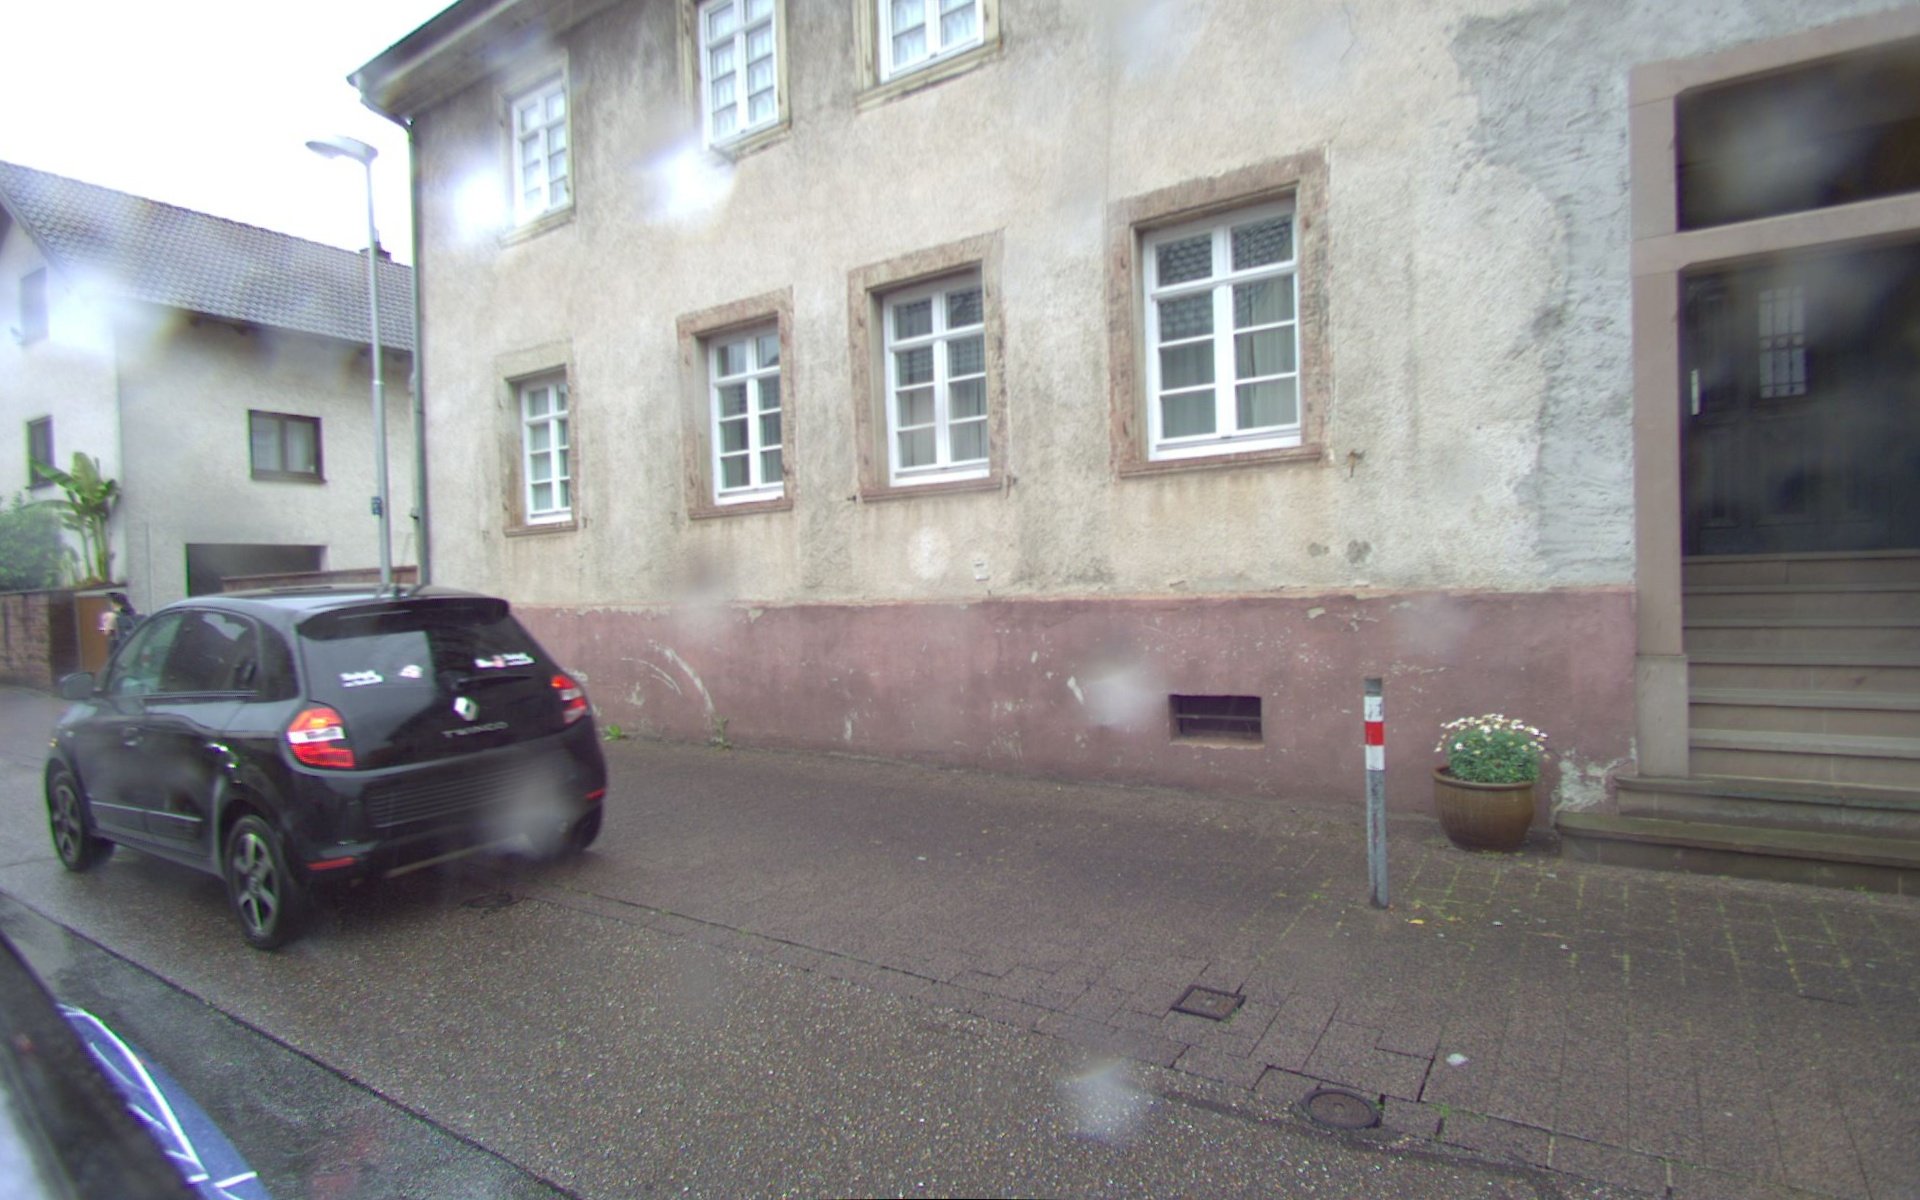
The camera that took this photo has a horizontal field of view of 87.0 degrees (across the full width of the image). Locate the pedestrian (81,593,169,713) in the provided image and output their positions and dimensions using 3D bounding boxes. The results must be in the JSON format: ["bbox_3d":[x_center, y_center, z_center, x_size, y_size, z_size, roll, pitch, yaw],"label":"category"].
[{"bbox_3d":[-11.304,0.697,13.706,0.829,1.549,0.568,-1,2,29],"label":"pedestrian"}]

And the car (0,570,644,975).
[{"bbox_3d":[-3.605,0.664,5.507,3.676,1.524,1.592,-1,1,33],"label":"car"}]
